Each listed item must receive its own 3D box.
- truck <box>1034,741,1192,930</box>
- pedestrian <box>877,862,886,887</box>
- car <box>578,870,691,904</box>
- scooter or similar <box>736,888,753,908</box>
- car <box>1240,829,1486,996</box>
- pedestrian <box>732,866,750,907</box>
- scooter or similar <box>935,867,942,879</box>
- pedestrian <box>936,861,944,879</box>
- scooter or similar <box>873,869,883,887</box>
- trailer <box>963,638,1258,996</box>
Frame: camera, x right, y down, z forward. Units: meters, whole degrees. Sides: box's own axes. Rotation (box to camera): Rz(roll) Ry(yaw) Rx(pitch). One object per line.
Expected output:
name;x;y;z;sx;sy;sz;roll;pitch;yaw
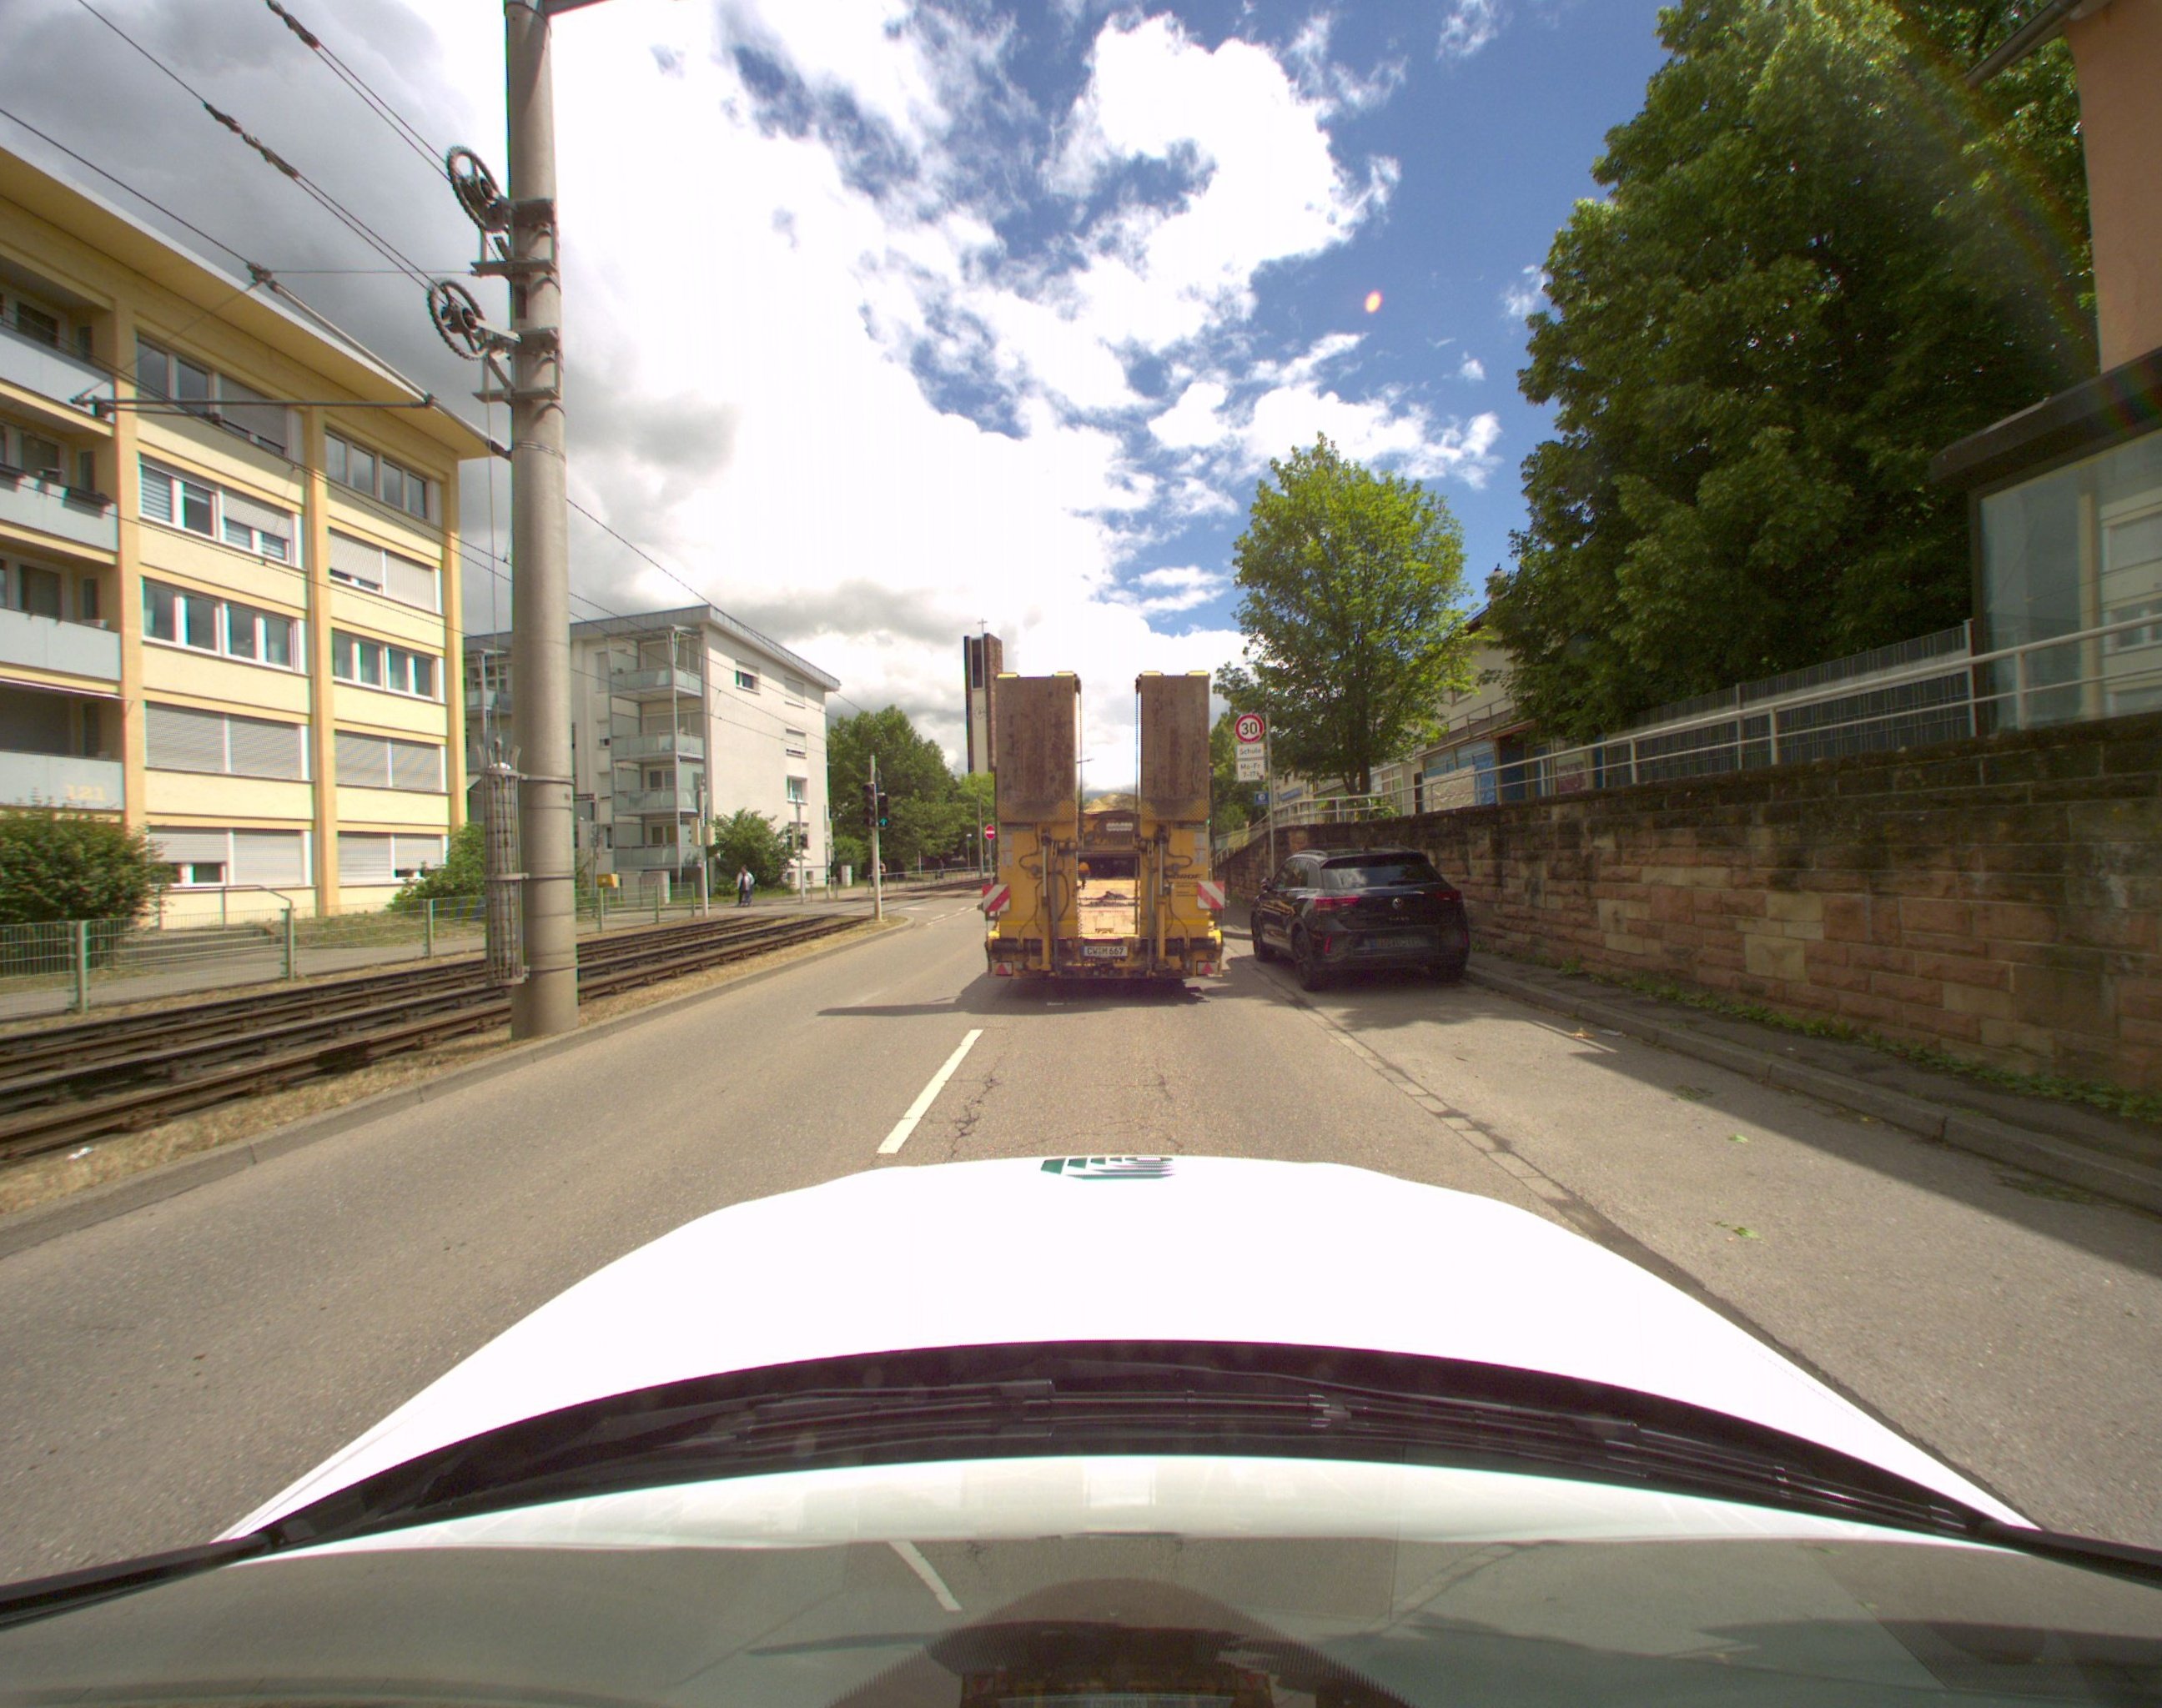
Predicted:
truck;0.733;-0.351;18.219;2.931;3.572;4.880;-2;0;2
pedestrian;-12.497;1.253;50.925;0.346;1.537;0.558;-2;-1;5
car;-19.487;1.425;35.646;3.963;1.346;1.906;-2;0;9
scooter or similar;-13.078;1.694;31.659;0.435;0.747;0.475;-2;0;7
car;3.301;0.615;10.426;1.843;1.639;4.003;-3;0;2
pedestrian;-13.388;1.272;32.107;0.435;1.581;0.475;-2;-1;7
scooter or similar;-11.736;1.578;67.047;0.504;0.971;0.646;0;-1;1
pedestrian;-11.700;1.318;67.699;0.562;1.514;0.646;0;-1;1
scooter or similar;-12.551;1.470;50.298;0.336;1.058;0.688;-2;0;5
trailer;0.497;-0.366;12.760;2.933;3.601;8.689;-2;0;3
